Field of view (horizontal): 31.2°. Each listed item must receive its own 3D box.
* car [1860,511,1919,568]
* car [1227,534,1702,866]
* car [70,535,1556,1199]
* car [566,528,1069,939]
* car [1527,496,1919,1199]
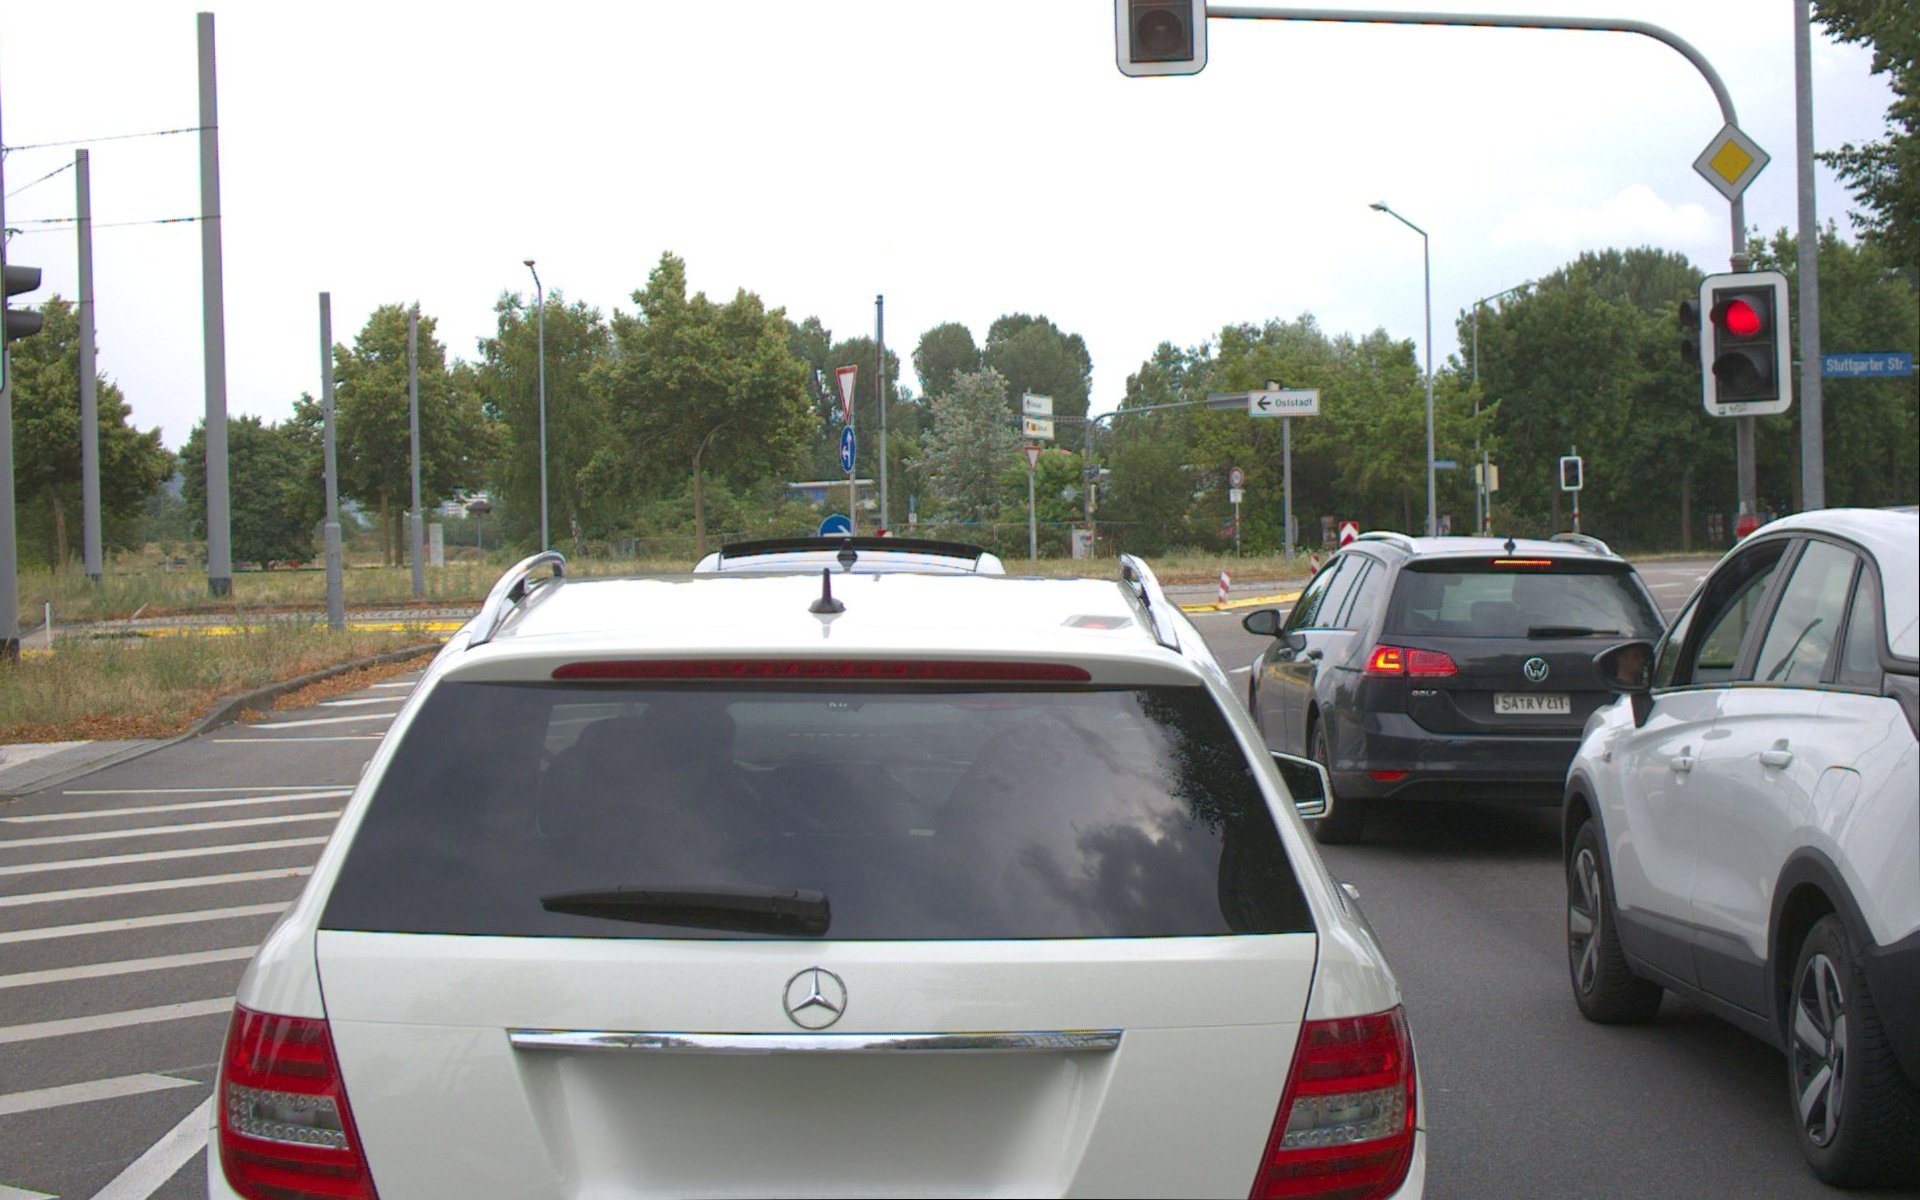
[{"bbox_3d":[31.061,-1.965,112.978,1.996,1.784,3.994,2,1,27],"label":"car"},{"bbox_3d":[2.382,0.407,17.145,1.624,1.443,3.911,0,1,-2],"label":"car"},{"bbox_3d":[-0.257,0.620,6.080,1.773,1.443,3.911,0,1,-2],"label":"car"},{"bbox_3d":[-0.590,0.435,14.151,1.773,1.443,3.911,0,1,-2],"label":"car"},{"bbox_3d":[2.747,0.535,9.111,1.787,1.619,3.911,-1,1,0],"label":"car"}]
